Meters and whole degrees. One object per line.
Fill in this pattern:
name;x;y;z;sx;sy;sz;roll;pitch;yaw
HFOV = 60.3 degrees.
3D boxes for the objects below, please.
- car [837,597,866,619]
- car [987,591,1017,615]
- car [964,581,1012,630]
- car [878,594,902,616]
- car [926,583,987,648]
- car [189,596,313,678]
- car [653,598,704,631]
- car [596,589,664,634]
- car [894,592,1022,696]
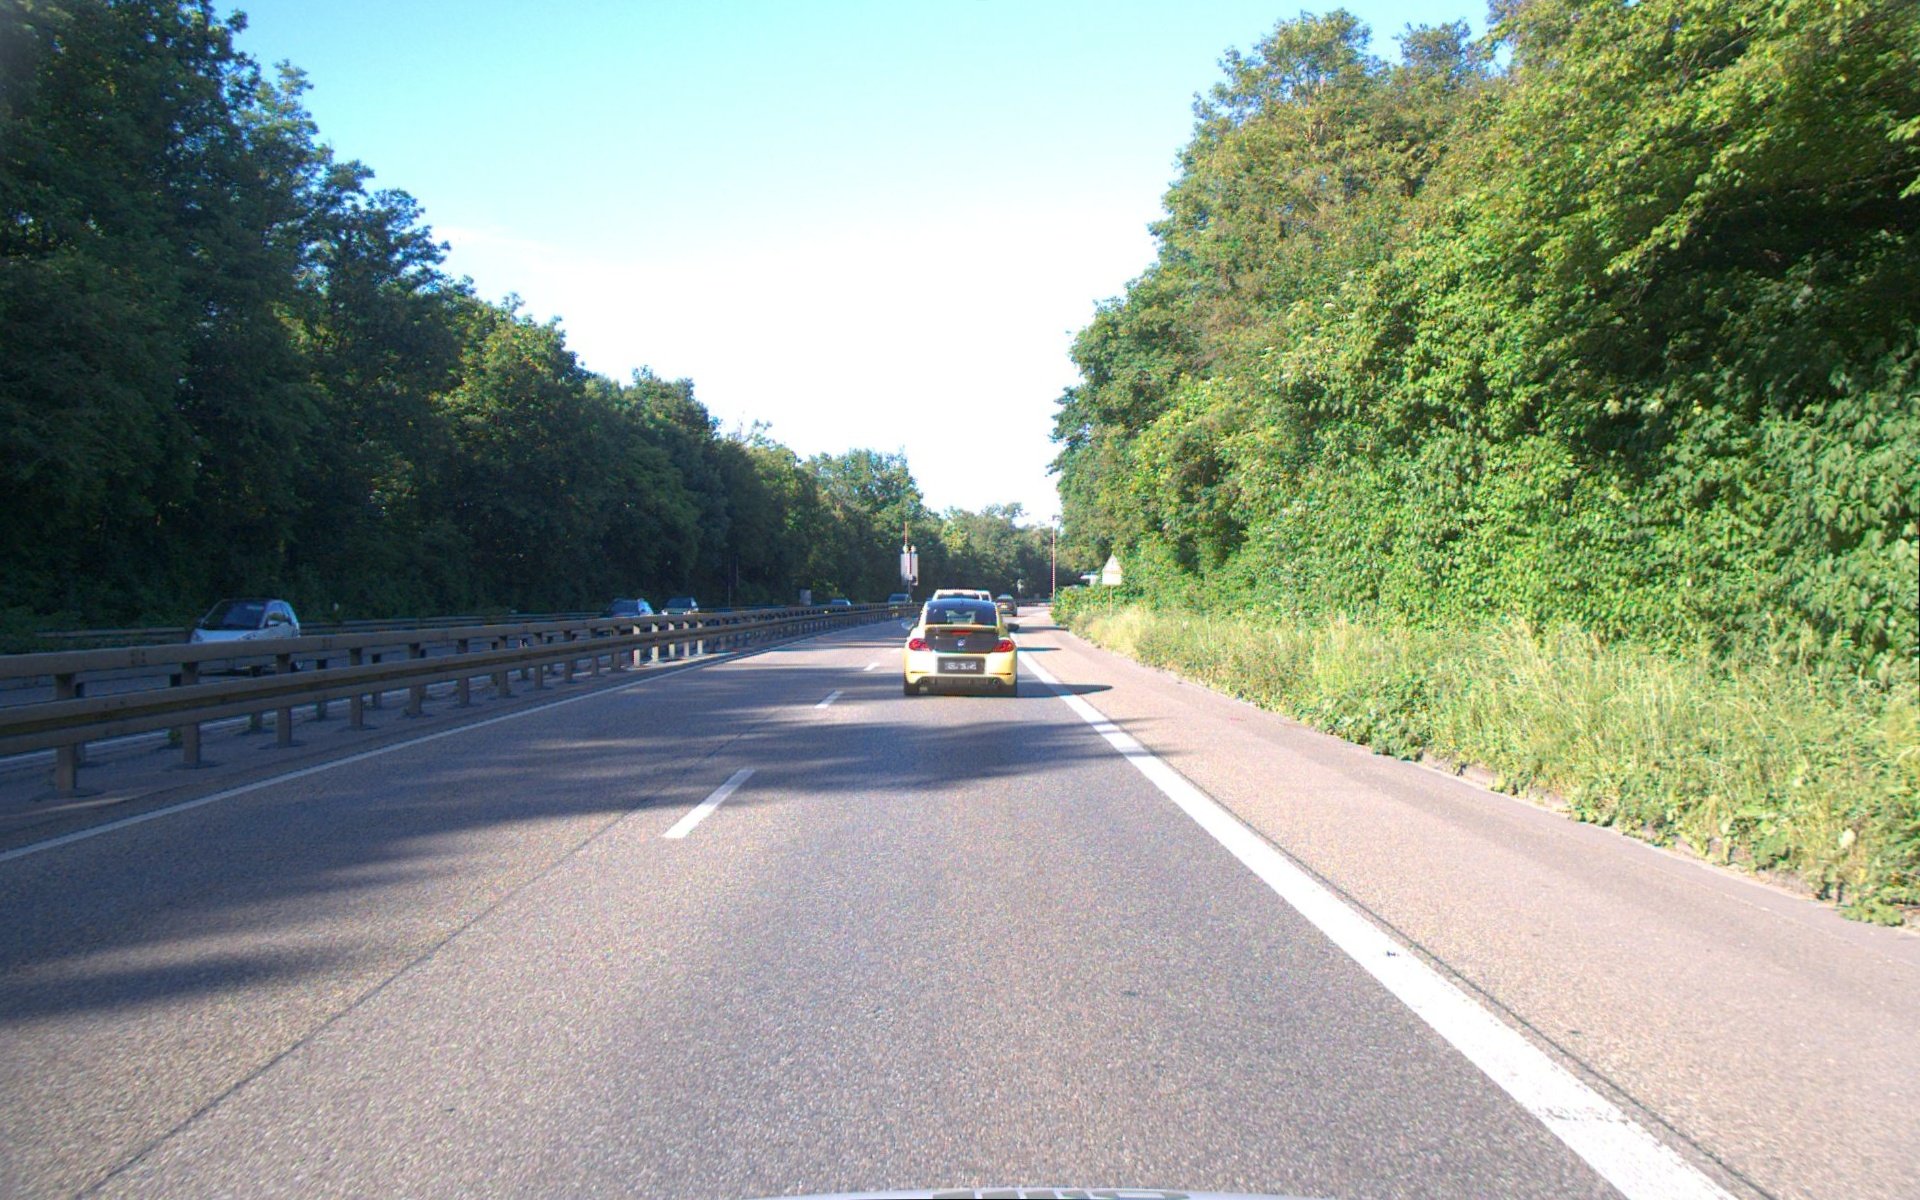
car;-7.708;0.583;117.906;1.564;1.478;4.346;-2;0;2
car;3.308;0.229;130.738;2.217;1.908;5.076;0;0;0
car;1.219;0.228;73.826;1.953;2.049;3.999;-2;0;-1
car;-6.538;0.473;154.282;1.849;1.936;5.416;-2;0;1
car;-0.067;0.452;49.811;1.705;1.862;3.423;1;0;2
car;-14.896;0.745;34.900;1.385;1.648;2.875;0;0;0
car;-14.601;0.721;85.914;1.953;1.612;4.000;-2;0;0
car;-13.926;0.454;70.027;1.953;1.780;4.550;-2;0;0
car;-0.009;0.649;26.249;1.899;1.534;3.422;0;0;1
